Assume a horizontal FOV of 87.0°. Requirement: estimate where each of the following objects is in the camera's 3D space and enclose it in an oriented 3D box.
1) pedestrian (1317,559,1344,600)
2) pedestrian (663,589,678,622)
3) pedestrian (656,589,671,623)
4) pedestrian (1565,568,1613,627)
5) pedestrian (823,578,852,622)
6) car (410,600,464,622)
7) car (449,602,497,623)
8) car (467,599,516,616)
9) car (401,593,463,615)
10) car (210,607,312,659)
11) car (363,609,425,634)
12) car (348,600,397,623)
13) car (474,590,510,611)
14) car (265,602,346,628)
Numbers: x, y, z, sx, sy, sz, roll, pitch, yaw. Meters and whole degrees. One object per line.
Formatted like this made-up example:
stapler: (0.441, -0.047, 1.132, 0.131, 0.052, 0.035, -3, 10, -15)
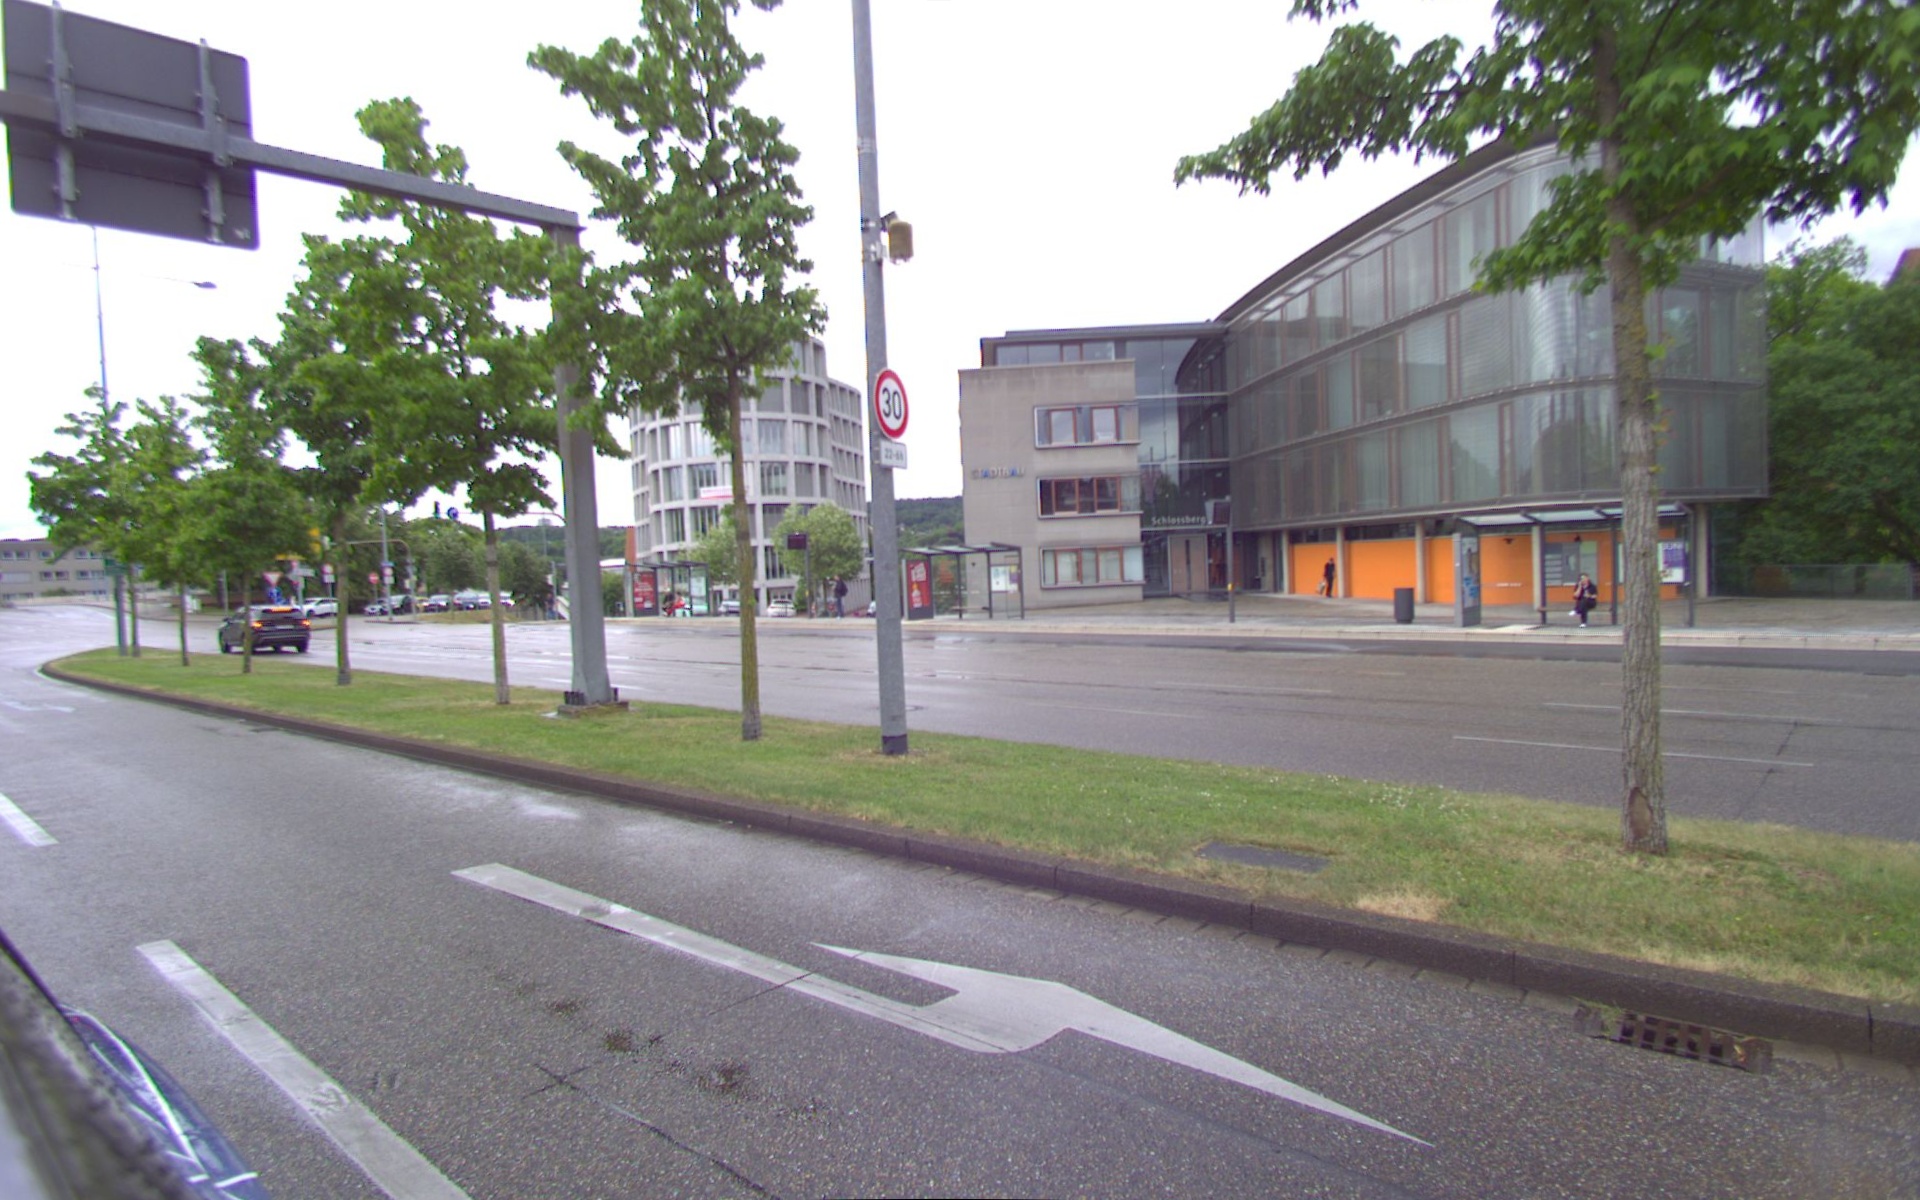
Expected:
pedestrian: (15.210, -0.846, 41.569, 0.697, 1.666, 0.852, -1, 0, -6)
pedestrian: (-14.559, 0.293, 50.908, 0.535, 1.647, 0.514, -1, 0, 41)
pedestrian: (-14.730, 0.299, 50.340, 0.501, 1.647, 0.497, -1, 0, 41)
pedestrian: (14.606, -0.049, 23.485, 0.790, 1.334, 0.793, -1, 0, 42)
pedestrian: (-5.032, 0.016, 41.656, 0.964, 1.773, 0.783, -1, 0, 12)
car: (-43.613, 0.868, 84.555, 2.164, 1.725, 4.919, -1, 0, -3)
car: (-44.010, 1.088, 91.504, 2.164, 1.725, 4.920, -1, 0, -3)
car: (-48.849, 0.789, 105.541, 4.897, 1.725, 2.174, -1, 0, 30)
car: (-52.429, 0.393, 100.594, 4.963, 2.029, 2.311, -1, 0, 0)
car: (-24.497, 1.125, 35.414, 4.597, 1.652, 1.803, -1, 1, 41)
car: (-43.317, 1.609, 77.615, 2.164, 1.725, 4.919, -1, 0, -3)
car: (-47.869, 0.928, 82.540, 1.969, 1.807, 4.006, -1, 0, -7)
car: (-45.979, 0.067, 99.550, 1.969, 2.029, 4.005, -1, 0, -6)
car: (-47.052, 1.041, 72.924, 2.172, 1.725, 4.901, -1, 0, 10)
